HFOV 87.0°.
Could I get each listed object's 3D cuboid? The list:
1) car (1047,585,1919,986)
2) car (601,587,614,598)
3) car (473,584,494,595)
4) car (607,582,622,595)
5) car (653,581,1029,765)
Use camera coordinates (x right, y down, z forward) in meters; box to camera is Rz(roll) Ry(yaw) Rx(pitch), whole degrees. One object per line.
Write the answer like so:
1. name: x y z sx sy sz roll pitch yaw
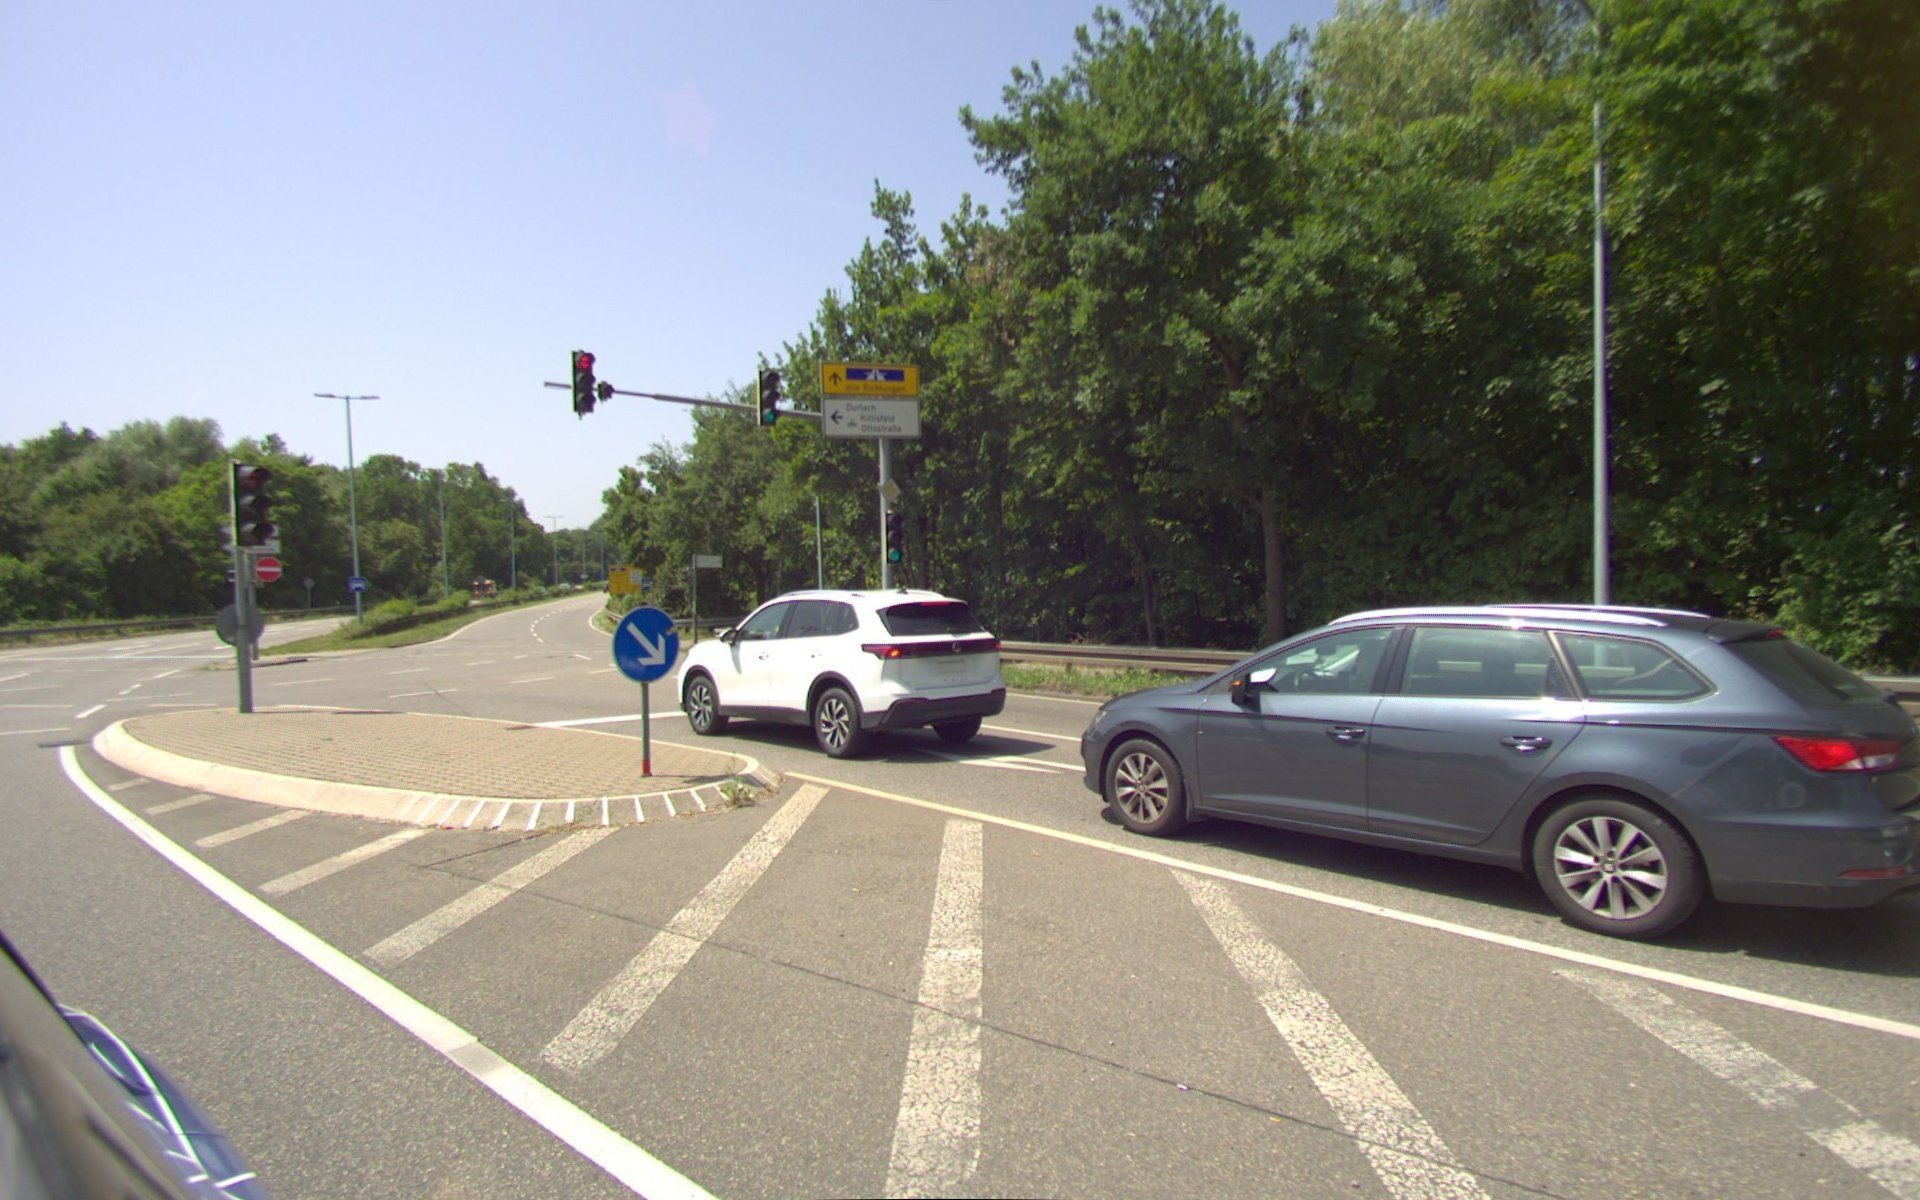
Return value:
1. car: 2.771 0.666 5.702 1.805 1.417 4.553 -1 0 -42
2. car: -54.661 -1.202 157.026 1.711 1.701 3.835 -2 1 -17
3. car: -64.238 -1.442 136.381 1.816 1.441 3.587 -2 1 -14
4. car: -45.696 -1.484 133.821 1.683 1.638 4.013 -2 1 -20
5. car: -1.532 0.659 11.339 1.806 1.651 4.583 -1 0 -43
